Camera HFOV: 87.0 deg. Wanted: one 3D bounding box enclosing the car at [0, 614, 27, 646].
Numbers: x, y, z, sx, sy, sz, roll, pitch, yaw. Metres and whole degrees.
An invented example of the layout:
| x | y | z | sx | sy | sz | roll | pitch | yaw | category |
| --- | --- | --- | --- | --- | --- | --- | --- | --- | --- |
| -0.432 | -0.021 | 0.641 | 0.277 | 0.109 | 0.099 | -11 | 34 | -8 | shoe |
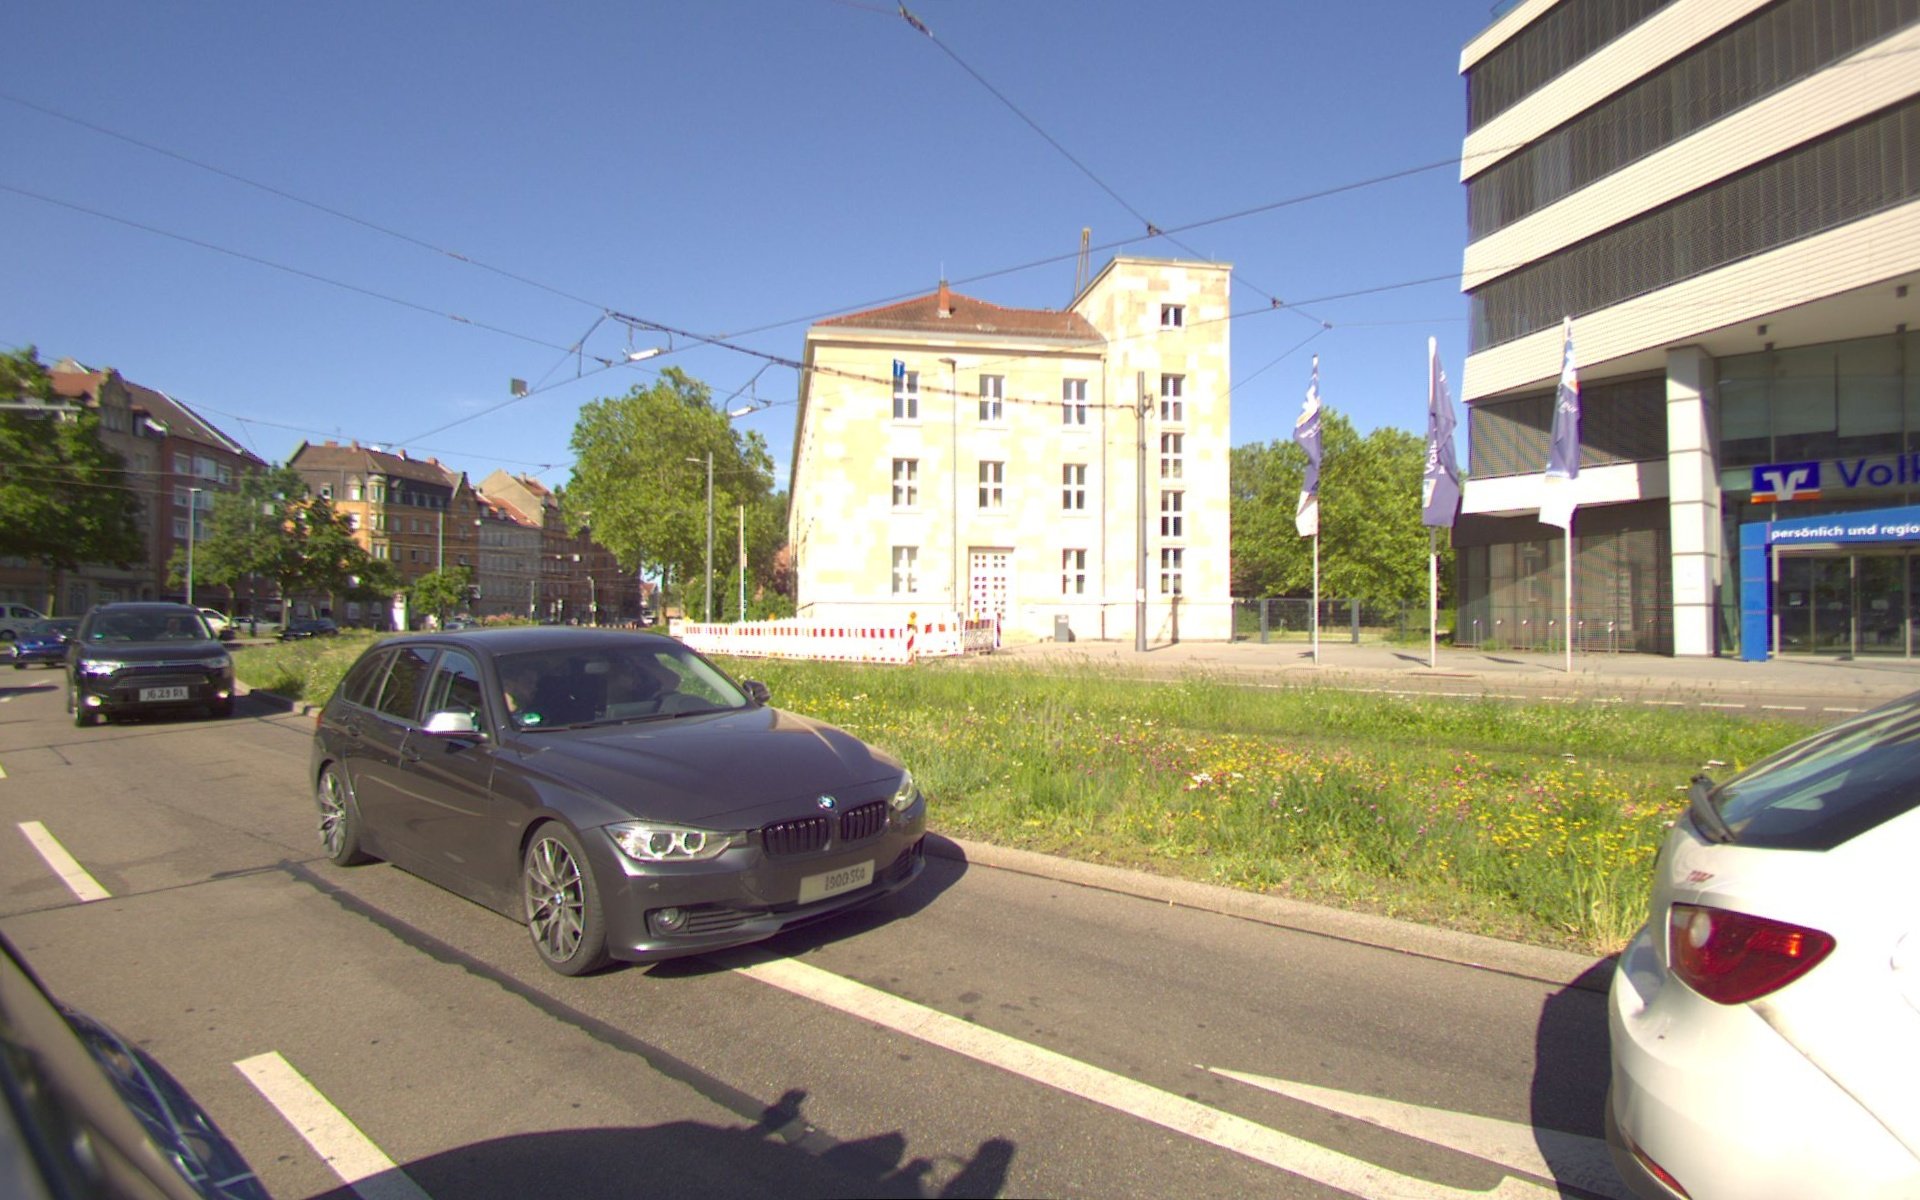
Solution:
| x | y | z | sx | sy | sz | roll | pitch | yaw | category |
| --- | --- | --- | --- | --- | --- | --- | --- | --- | --- |
| -47.416 | 1.408 | 48.420 | 3.970 | 1.490 | 1.814 | 4 | -2 | -44 | car |

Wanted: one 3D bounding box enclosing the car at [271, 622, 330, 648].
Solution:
| x | y | z | sx | sy | sz | roll | pitch | yaw | category |
| --- | --- | --- | --- | --- | --- | --- | --- | --- | --- |
| -38.073 | 2.019 | 58.543 | 1.858 | 1.438 | 4.390 | 0 | -1 | -19 | car |

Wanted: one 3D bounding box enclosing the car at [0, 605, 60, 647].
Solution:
| x | y | z | sx | sy | sz | roll | pitch | yaw | category |
| --- | --- | --- | --- | --- | --- | --- | --- | --- | --- |
| -49.003 | 1.269 | 51.120 | 5.105 | 2.028 | 2.104 | 3 | -2 | -40 | car |

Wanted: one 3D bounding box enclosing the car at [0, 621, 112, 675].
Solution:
| x | y | z | sx | sy | sz | roll | pitch | yaw | category |
| --- | --- | --- | --- | --- | --- | --- | --- | --- | --- |
| -28.996 | 1.488 | 32.517 | 1.966 | 1.629 | 4.276 | 1 | -1 | -31 | car |

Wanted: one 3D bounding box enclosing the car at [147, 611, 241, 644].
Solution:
| x | y | z | sx | sy | sz | roll | pitch | yaw | category |
| --- | --- | --- | --- | --- | --- | --- | --- | --- | --- |
| -52.102 | 1.864 | 68.889 | 2.022 | 2.091 | 4.809 | -1 | -3 | 45 | car |

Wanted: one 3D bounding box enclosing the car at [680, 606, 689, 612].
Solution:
| x | y | z | sx | sy | sz | roll | pitch | yaw | category |
| --- | --- | --- | --- | --- | --- | --- | --- | --- | --- |
| -65.618 | 2.153 | 241.203 | 1.769 | 1.440 | 4.385 | 0 | -1 | -11 | car |

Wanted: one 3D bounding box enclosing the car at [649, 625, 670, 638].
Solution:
| x | y | z | sx | sy | sz | roll | pitch | yaw | category |
| --- | --- | --- | --- | --- | --- | --- | --- | --- | --- |
| -34.002 | 3.561 | 114.623 | 1.806 | 1.464 | 4.179 | 1 | -2 | -10 | car |

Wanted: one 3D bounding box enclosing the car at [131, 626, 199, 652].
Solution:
| x | y | z | sx | sy | sz | roll | pitch | yaw | category |
| --- | --- | --- | --- | --- | --- | --- | --- | --- | --- |
| -61.749 | 2.990 | 78.704 | 1.970 | 1.484 | 4.498 | -8 | 2 | -8 | car |

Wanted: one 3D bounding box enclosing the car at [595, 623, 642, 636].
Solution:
| x | y | z | sx | sy | sz | roll | pitch | yaw | category |
| --- | --- | --- | --- | --- | --- | --- | --- | --- | --- |
| -39.819 | 3.451 | 118.094 | 4.899 | 1.464 | 1.833 | 1 | -2 | 6 | car |

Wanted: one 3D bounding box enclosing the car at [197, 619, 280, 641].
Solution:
| x | y | z | sx | sy | sz | roll | pitch | yaw | category |
| --- | --- | --- | --- | --- | --- | --- | --- | --- | --- |
| -53.844 | 2.254 | 75.584 | 4.807 | 1.446 | 2.022 | 4 | -3 | -43 | car |

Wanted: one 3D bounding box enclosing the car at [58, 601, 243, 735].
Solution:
| x | y | z | sx | sy | sz | roll | pitch | yaw | category |
| --- | --- | --- | --- | --- | --- | --- | --- | --- | --- |
| -12.267 | 0.913 | 15.214 | 1.814 | 1.695 | 4.647 | 0 | -1 | -43 | car |

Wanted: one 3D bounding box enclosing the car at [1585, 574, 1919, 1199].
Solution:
| x | y | z | sx | sy | sz | roll | pitch | yaw | category |
| --- | --- | --- | --- | --- | --- | --- | --- | --- | --- |
| 2.991 | 0.655 | 1.033 | 3.780 | 1.434 | 1.615 | -1 | 1 | 41 | car |

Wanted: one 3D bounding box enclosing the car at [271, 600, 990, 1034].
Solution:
| x | y | z | sx | sy | sz | roll | pitch | yaw | category |
| --- | --- | --- | --- | --- | --- | --- | --- | --- | --- |
| -2.115 | 0.787 | 5.606 | 4.465 | 1.434 | 1.716 | -1 | 1 | 41 | car |
